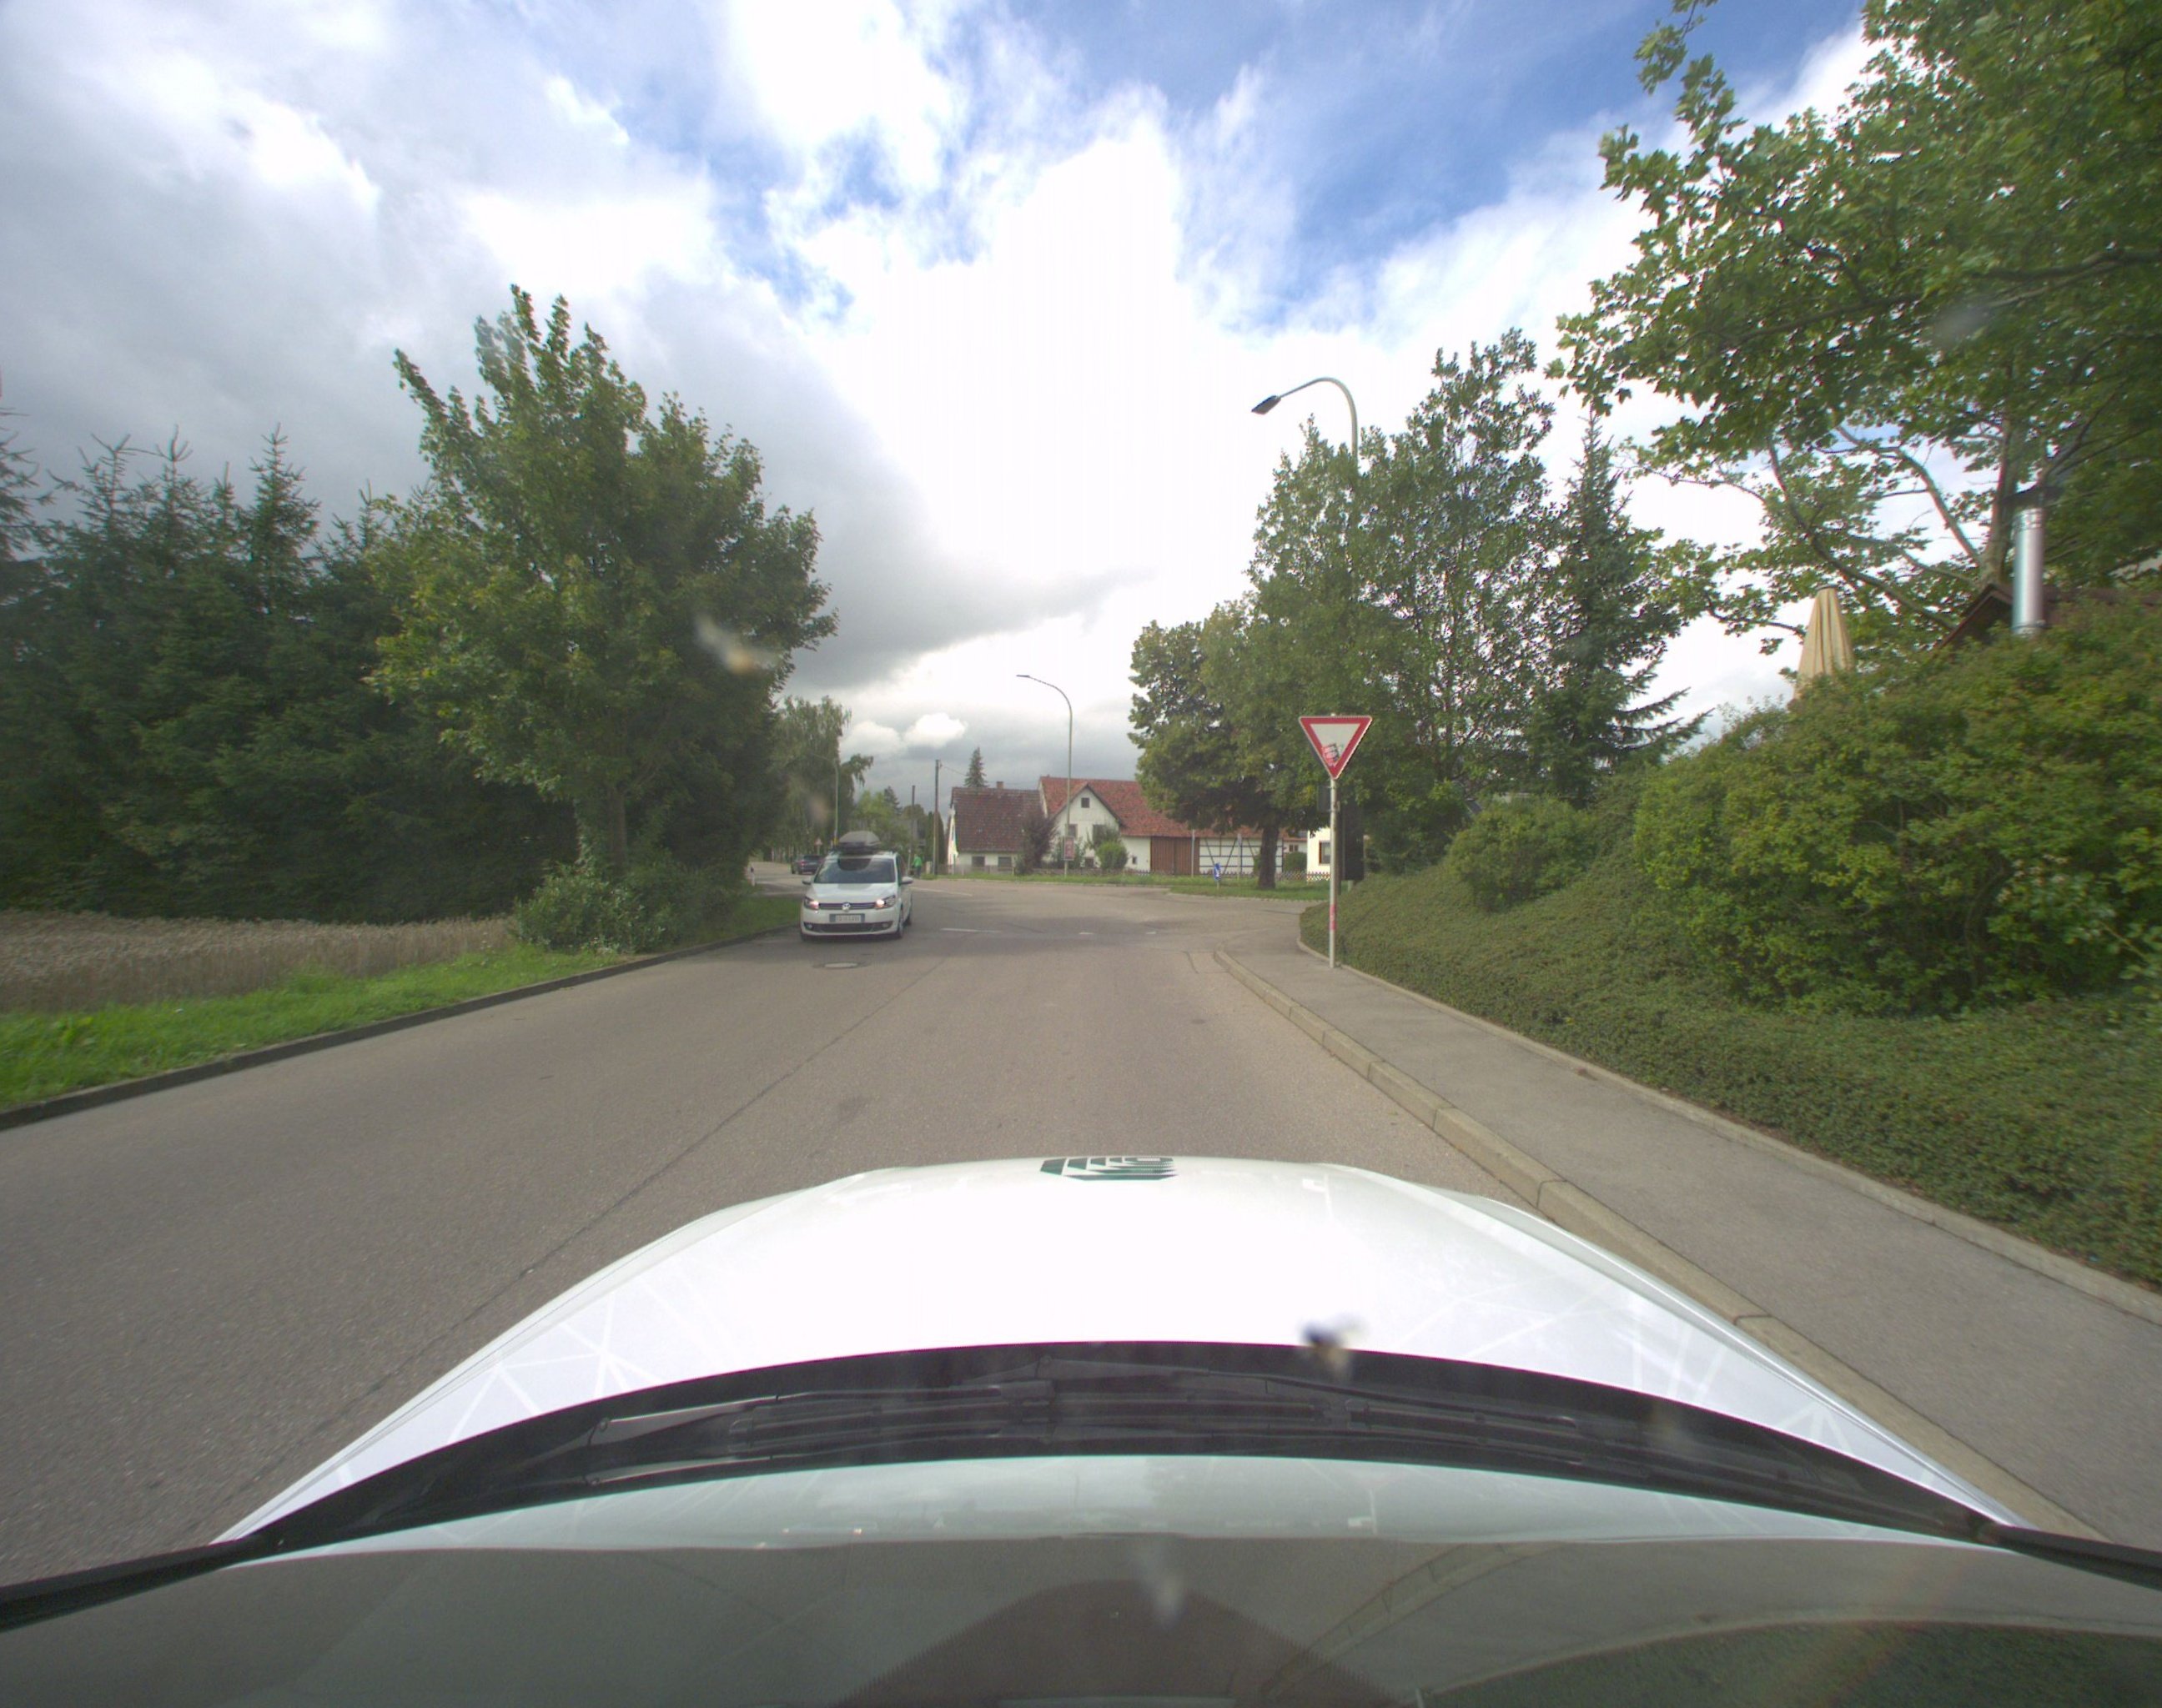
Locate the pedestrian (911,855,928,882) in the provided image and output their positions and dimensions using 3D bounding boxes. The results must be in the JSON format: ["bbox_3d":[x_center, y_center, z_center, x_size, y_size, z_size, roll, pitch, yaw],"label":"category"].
[{"bbox_3d":[-10.667,0.958,53.712,0.794,1.665,0.705,6,-3,-32],"label":"pedestrian"}]

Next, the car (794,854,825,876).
[{"bbox_3d":[-20.856,0.824,62.516,2.001,1.552,3.972,1,0,-21],"label":"car"}]

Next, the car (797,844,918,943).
[{"bbox_3d":[-4.235,0.684,16.033,1.697,1.665,4.022,-1,0,-7],"label":"car"}]

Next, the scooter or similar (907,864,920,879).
[{"bbox_3d":[-11.185,1.142,54.334,0.635,0.948,0.616,6,-3,-32],"label":"scooter or similar"}]
